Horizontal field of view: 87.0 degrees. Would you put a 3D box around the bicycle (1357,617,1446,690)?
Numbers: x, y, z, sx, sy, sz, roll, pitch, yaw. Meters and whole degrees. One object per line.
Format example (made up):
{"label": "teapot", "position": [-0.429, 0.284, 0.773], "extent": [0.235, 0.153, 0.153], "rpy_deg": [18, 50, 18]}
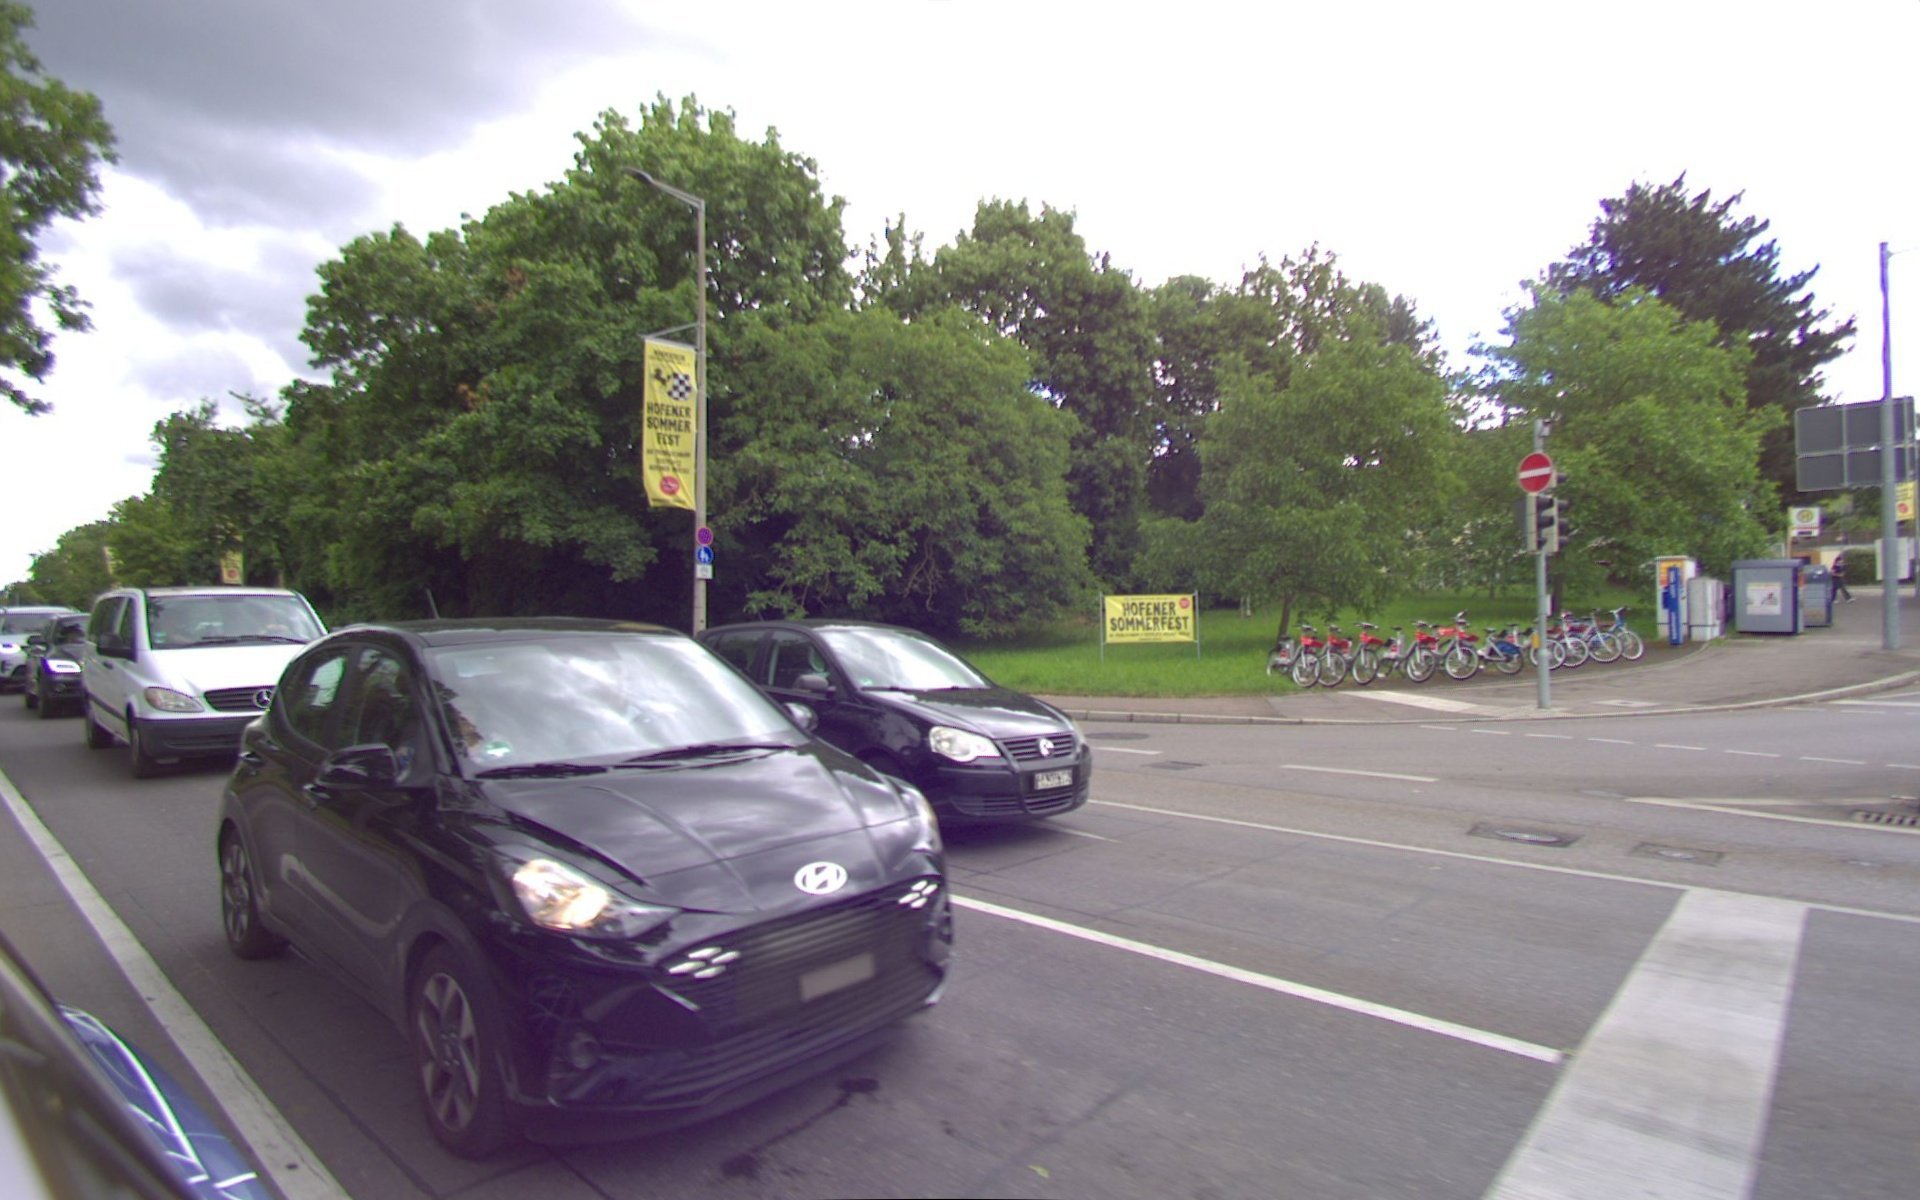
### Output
{"label": "bicycle", "position": [8.255, 0.967, 19.021], "extent": [0.537, 1.262, 1.939], "rpy_deg": [-1, 0, -9]}

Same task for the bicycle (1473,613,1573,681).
{"label": "bicycle", "position": [11.174, 0.899, 20.161], "extent": [0.536, 1.262, 1.940], "rpy_deg": [-1, 0, -13]}

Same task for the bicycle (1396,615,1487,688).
{"label": "bicycle", "position": [9.129, 0.947, 19.285], "extent": [0.537, 1.262, 1.939], "rpy_deg": [-1, 0, -9]}

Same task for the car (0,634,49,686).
{"label": "car", "position": [-25.751, 1.586, 27.271], "extent": [3.824, 1.276, 1.537], "rpy_deg": [-1, -1, 44]}

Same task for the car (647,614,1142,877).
{"label": "car", "position": [-0.679, 0.874, 7.577], "extent": [3.808, 1.478, 1.539], "rpy_deg": [-2, -2, 44]}

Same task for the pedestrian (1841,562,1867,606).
{"label": "pedestrian", "position": [34.435, -0.605, 38.989], "extent": [0.559, 1.688, 0.703], "rpy_deg": [-1, 0, -44]}

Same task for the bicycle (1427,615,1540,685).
{"label": "bicycle", "position": [10.087, 0.925, 19.566], "extent": [0.536, 1.262, 1.941], "rpy_deg": [-1, 0, -30]}

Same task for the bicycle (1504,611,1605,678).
{"label": "bicycle", "position": [12.023, 0.878, 20.544], "extent": [0.536, 1.262, 1.940], "rpy_deg": [-1, 0, -13]}

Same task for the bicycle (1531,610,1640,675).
{"label": "bicycle", "position": [13.001, 0.855, 21.092], "extent": [0.536, 1.262, 1.942], "rpy_deg": [-1, 0, -24]}

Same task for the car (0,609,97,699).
{"label": "car", "position": [-20.806, 1.143, 22.695], "extent": [4.504, 1.808, 1.783], "rpy_deg": [-1, 0, 44]}

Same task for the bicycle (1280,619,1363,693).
{"label": "bicycle", "position": [6.669, 1.003, 18.776], "extent": [0.537, 1.262, 1.939], "rpy_deg": [-1, 0, -9]}

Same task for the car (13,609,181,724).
{"label": "car", "position": [-14.845, 1.073, 17.326], "extent": [4.335, 1.731, 1.732], "rpy_deg": [-2, -2, 44]}

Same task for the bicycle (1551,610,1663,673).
{"label": "bicycle", "position": [13.639, 0.839, 21.391], "extent": [0.536, 1.262, 1.941], "rpy_deg": [-1, 0, -30]}

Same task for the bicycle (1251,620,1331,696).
{"label": "bicycle", "position": [6.023, 1.018, 18.522], "extent": [0.537, 1.262, 1.939], "rpy_deg": [-1, 0, -9]}

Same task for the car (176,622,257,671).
{"label": "car", "position": [-26.007, 1.574, 35.367], "extent": [1.719, 1.550, 3.912], "rpy_deg": [-1, 0, -45]}

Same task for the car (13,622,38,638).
{"label": "car", "position": [-111.346, 3.589, 120.516], "extent": [4.689, 1.919, 1.783], "rpy_deg": [-1, -3, 43]}

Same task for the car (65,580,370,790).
{"label": "car", "position": [-8.572, 0.810, 11.455], "extent": [5.282, 1.857, 1.886], "rpy_deg": [-2, -2, 44]}

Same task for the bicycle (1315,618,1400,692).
{"label": "bicycle", "position": [7.380, 0.987, 18.880], "extent": [0.537, 1.262, 1.939], "rpy_deg": [-1, 0, -9]}

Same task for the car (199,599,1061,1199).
{"label": "car", "position": [-1.574, 0.788, 3.994], "extent": [3.667, 1.492, 1.685], "rpy_deg": [-2, -2, 43]}

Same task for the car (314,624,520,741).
{"label": "car", "position": [-8.017, 1.107, 14.786], "extent": [1.573, 1.479, 3.931], "rpy_deg": [3, -3, -45]}

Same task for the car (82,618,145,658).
{"label": "car", "position": [-41.506, 1.858, 49.586], "extent": [4.409, 1.845, 1.772], "rpy_deg": [-2, -3, 43]}
